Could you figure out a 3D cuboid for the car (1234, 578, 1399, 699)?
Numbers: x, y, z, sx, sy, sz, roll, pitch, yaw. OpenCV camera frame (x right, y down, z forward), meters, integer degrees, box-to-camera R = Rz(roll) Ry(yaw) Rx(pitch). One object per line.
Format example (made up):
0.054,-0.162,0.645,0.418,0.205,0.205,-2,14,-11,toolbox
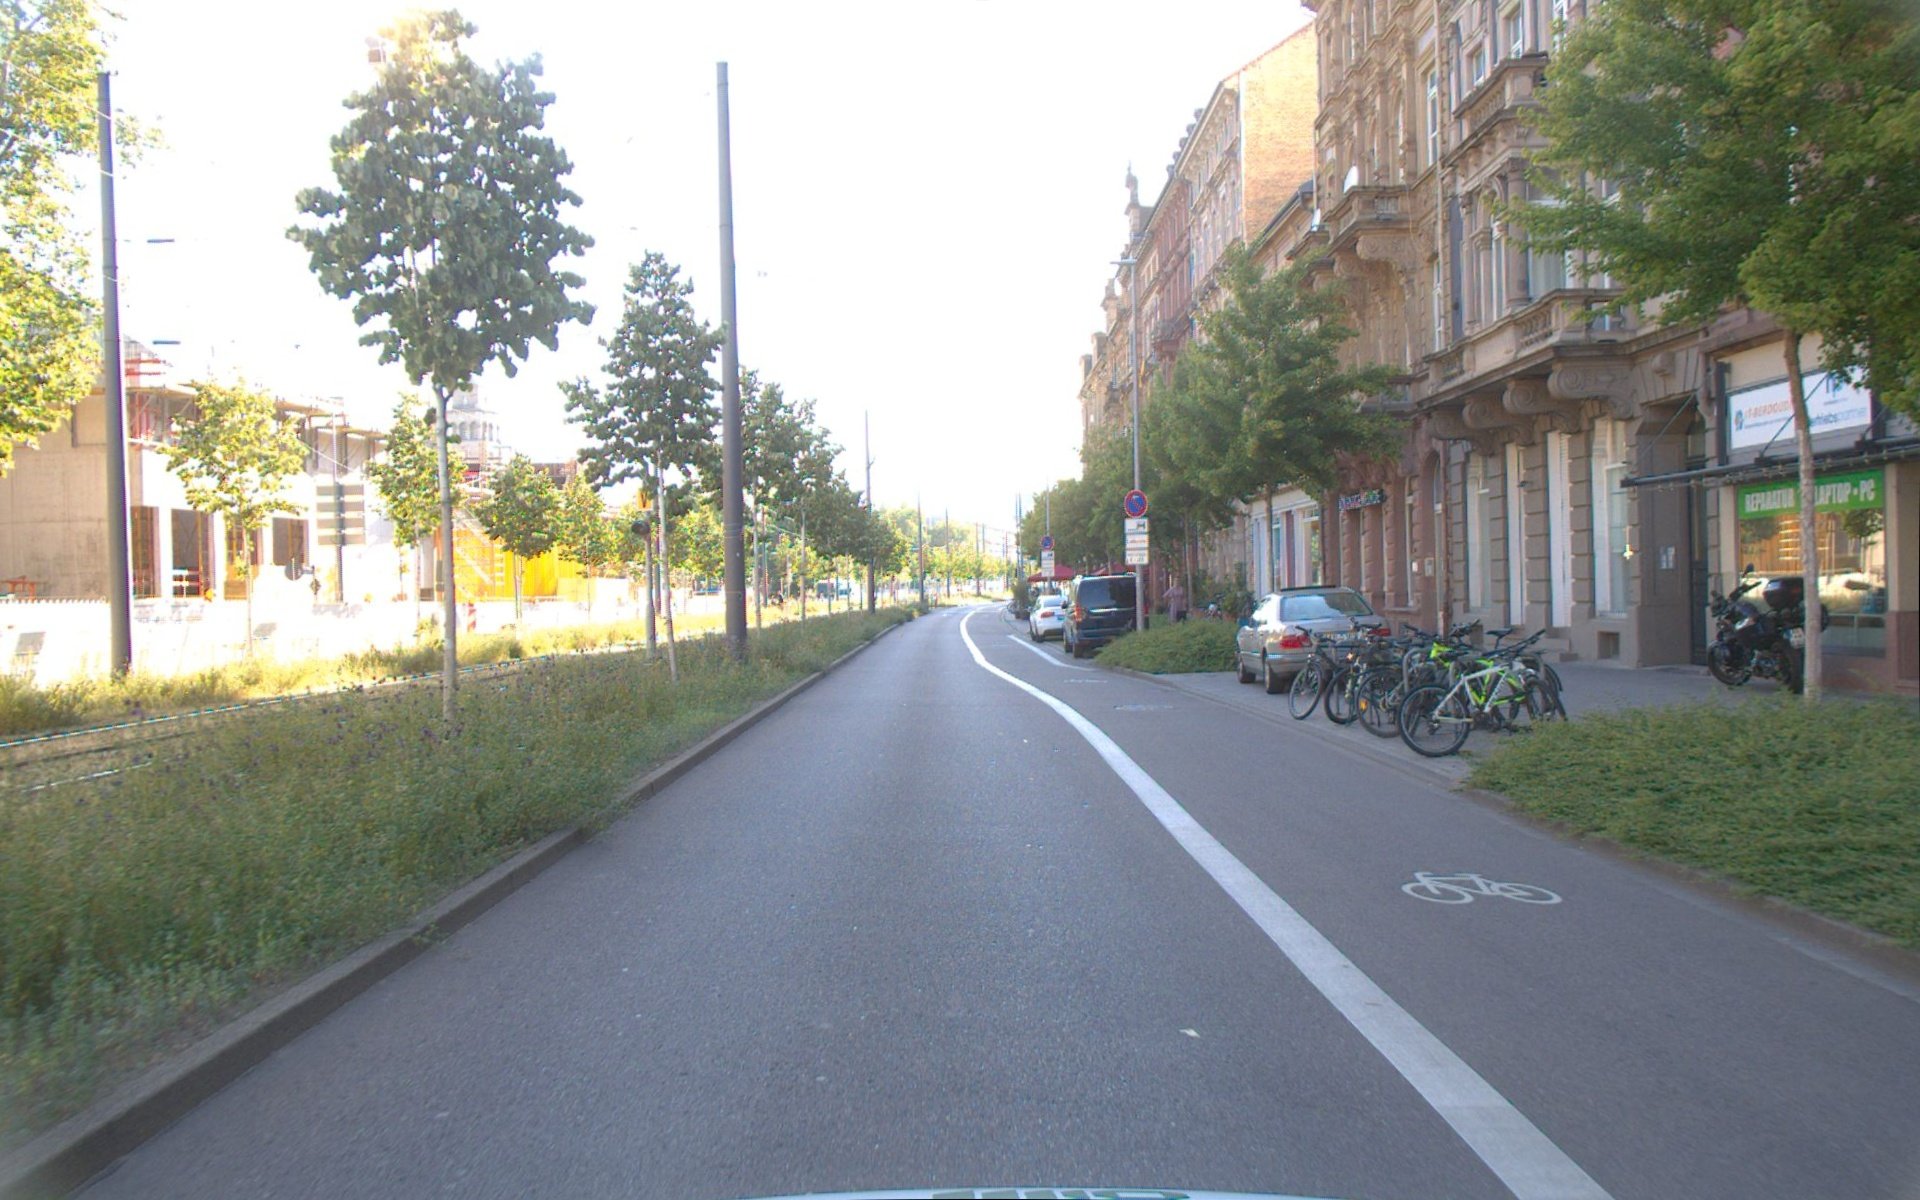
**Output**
5.215,0.497,24.701,1.603,1.511,4.213,-4,1,2,car

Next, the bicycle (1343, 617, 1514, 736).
4.716,0.755,16.677,1.547,1.066,0.488,-4,1,-9,bicycle

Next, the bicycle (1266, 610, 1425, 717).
4.460,0.727,19.182,1.657,1.066,0.489,-5,0,-1,bicycle

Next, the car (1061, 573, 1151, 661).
3.584,0.364,41.256,1.846,1.971,4.474,-2,1,1,car

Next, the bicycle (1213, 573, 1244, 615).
9.613,-0.222,59.262,0.647,1.427,2.352,-2,1,-1,bicycle

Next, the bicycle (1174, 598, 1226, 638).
7.031,0.499,48.654,1.059,1.103,2.769,-1,0,-1,bicycle

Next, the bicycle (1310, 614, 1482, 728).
4.676,0.755,17.794,1.657,1.066,0.489,-5,0,-1,bicycle

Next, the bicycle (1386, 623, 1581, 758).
4.650,0.790,14.712,1.547,1.066,0.488,-4,1,-9,bicycle

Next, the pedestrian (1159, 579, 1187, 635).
5.799,0.193,45.036,0.612,1.485,0.638,-2,0,-1,pedestrian

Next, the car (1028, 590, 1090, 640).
3.225,0.466,54.561,1.811,1.483,4.157,-2,1,1,car

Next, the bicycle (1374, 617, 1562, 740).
4.952,0.752,16.143,1.660,1.066,0.488,-4,1,-9,bicycle

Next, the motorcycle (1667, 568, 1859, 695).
9.403,0.317,19.541,0.779,1.331,2.852,-4,1,-1,motorcycle

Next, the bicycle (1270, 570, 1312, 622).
9.565,-0.130,47.882,0.647,1.427,2.352,-2,1,-1,bicycle
